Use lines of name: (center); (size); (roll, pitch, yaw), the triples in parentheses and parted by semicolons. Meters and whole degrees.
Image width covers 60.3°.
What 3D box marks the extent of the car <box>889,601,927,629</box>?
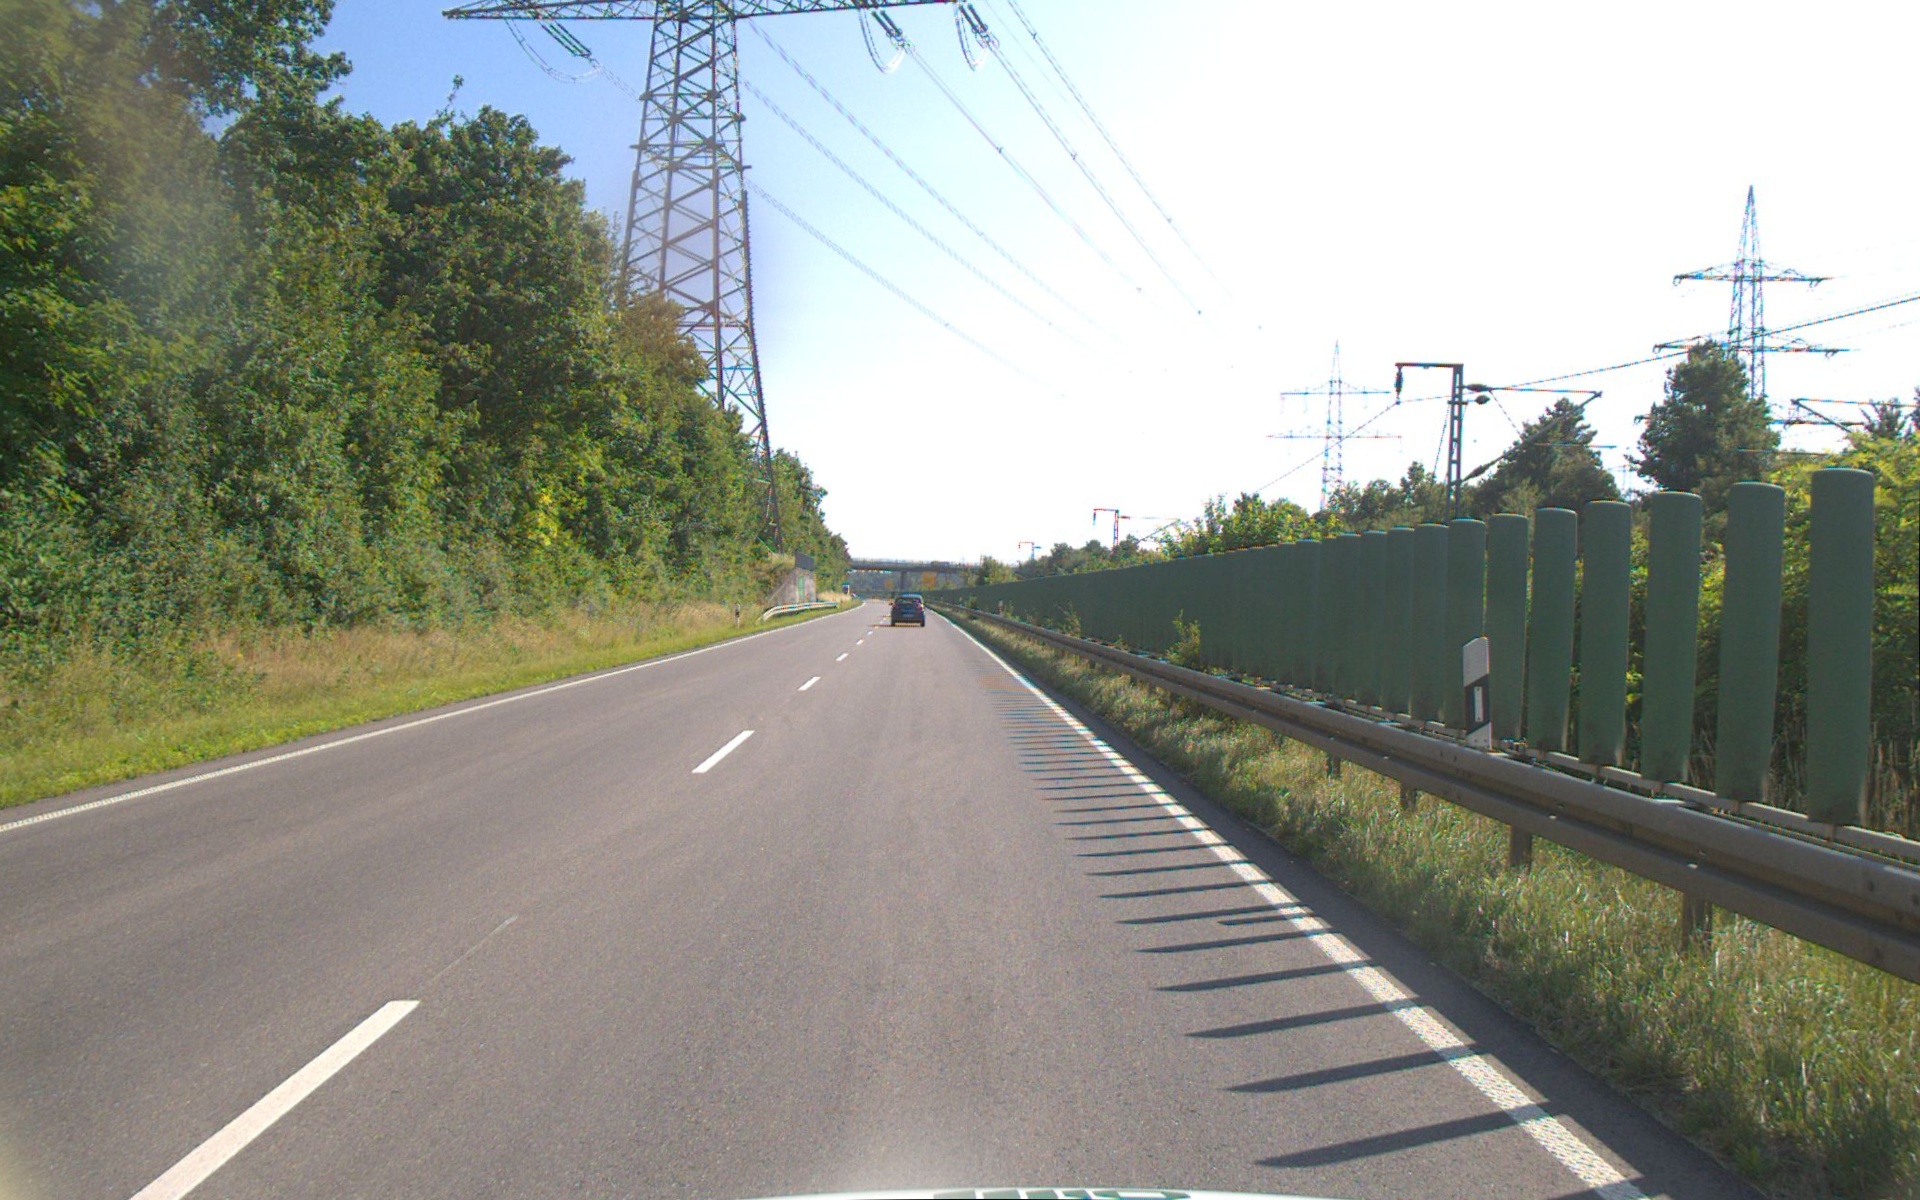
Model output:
car: (-2.512, 0.717, 78.888); (1.631, 1.283, 3.996); (1, 0, -4)
